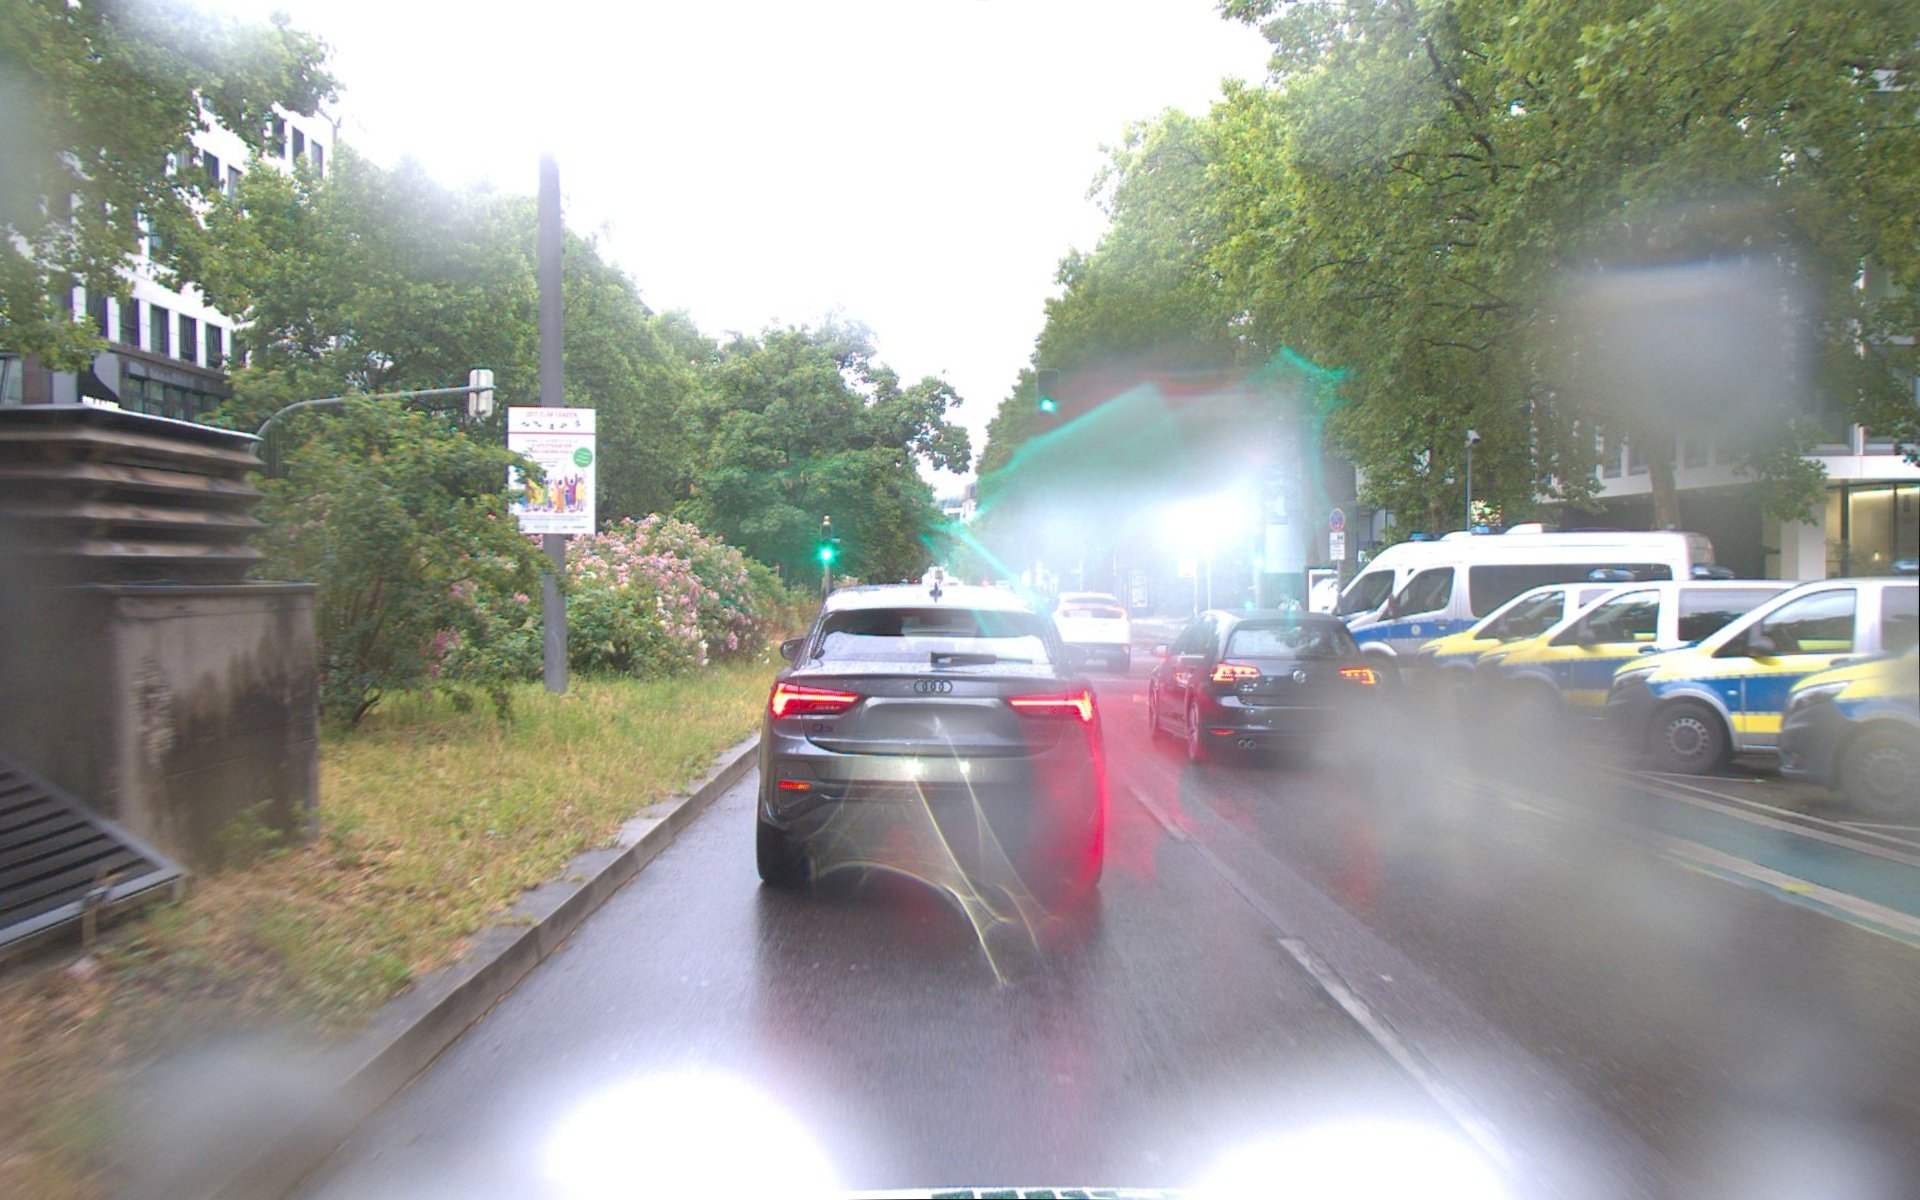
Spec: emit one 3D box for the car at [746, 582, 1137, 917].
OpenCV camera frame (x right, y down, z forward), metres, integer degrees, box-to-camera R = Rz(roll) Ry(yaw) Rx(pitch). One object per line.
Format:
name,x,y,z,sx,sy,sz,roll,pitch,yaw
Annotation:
car,-0.064,0.680,10.003,1.825,1.559,4.527,0,0,1

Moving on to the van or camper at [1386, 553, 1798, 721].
van or camper,8.496,0.474,22.446,4.915,2.049,1.993,0,-1,35

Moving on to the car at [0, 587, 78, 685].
car,-16.136,0.577,26.300,1.954,1.535,4.516,-1,0,-3

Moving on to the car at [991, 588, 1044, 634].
car,2.263,0.418,66.340,1.953,1.780,4.000,0,0,0

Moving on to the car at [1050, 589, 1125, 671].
car,2.777,0.630,36.427,1.404,1.714,2.979,0,0,0

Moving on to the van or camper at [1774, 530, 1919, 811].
van or camper,8.860,0.521,12.017,5.008,2.060,2.097,0,0,37

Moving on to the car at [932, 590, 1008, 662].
car,0.198,0.560,38.975,1.686,1.605,3.961,0,0,-1

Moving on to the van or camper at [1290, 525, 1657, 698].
van or camper,8.802,0.169,28.655,5.702,2.724,2.138,0,0,37

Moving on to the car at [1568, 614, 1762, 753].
car,7.898,0.886,18.708,1.029,1.412,2.693,0,0,0

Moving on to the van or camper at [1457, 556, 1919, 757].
van or camper,8.515,0.557,18.838,5.102,2.027,1.994,1,0,34

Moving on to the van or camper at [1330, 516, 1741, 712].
van or camper,8.792,0.188,25.540,5.693,2.727,1.993,0,0,35

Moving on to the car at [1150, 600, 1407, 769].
car,3.039,0.744,16.572,1.729,1.437,3.999,-1,0,-1
